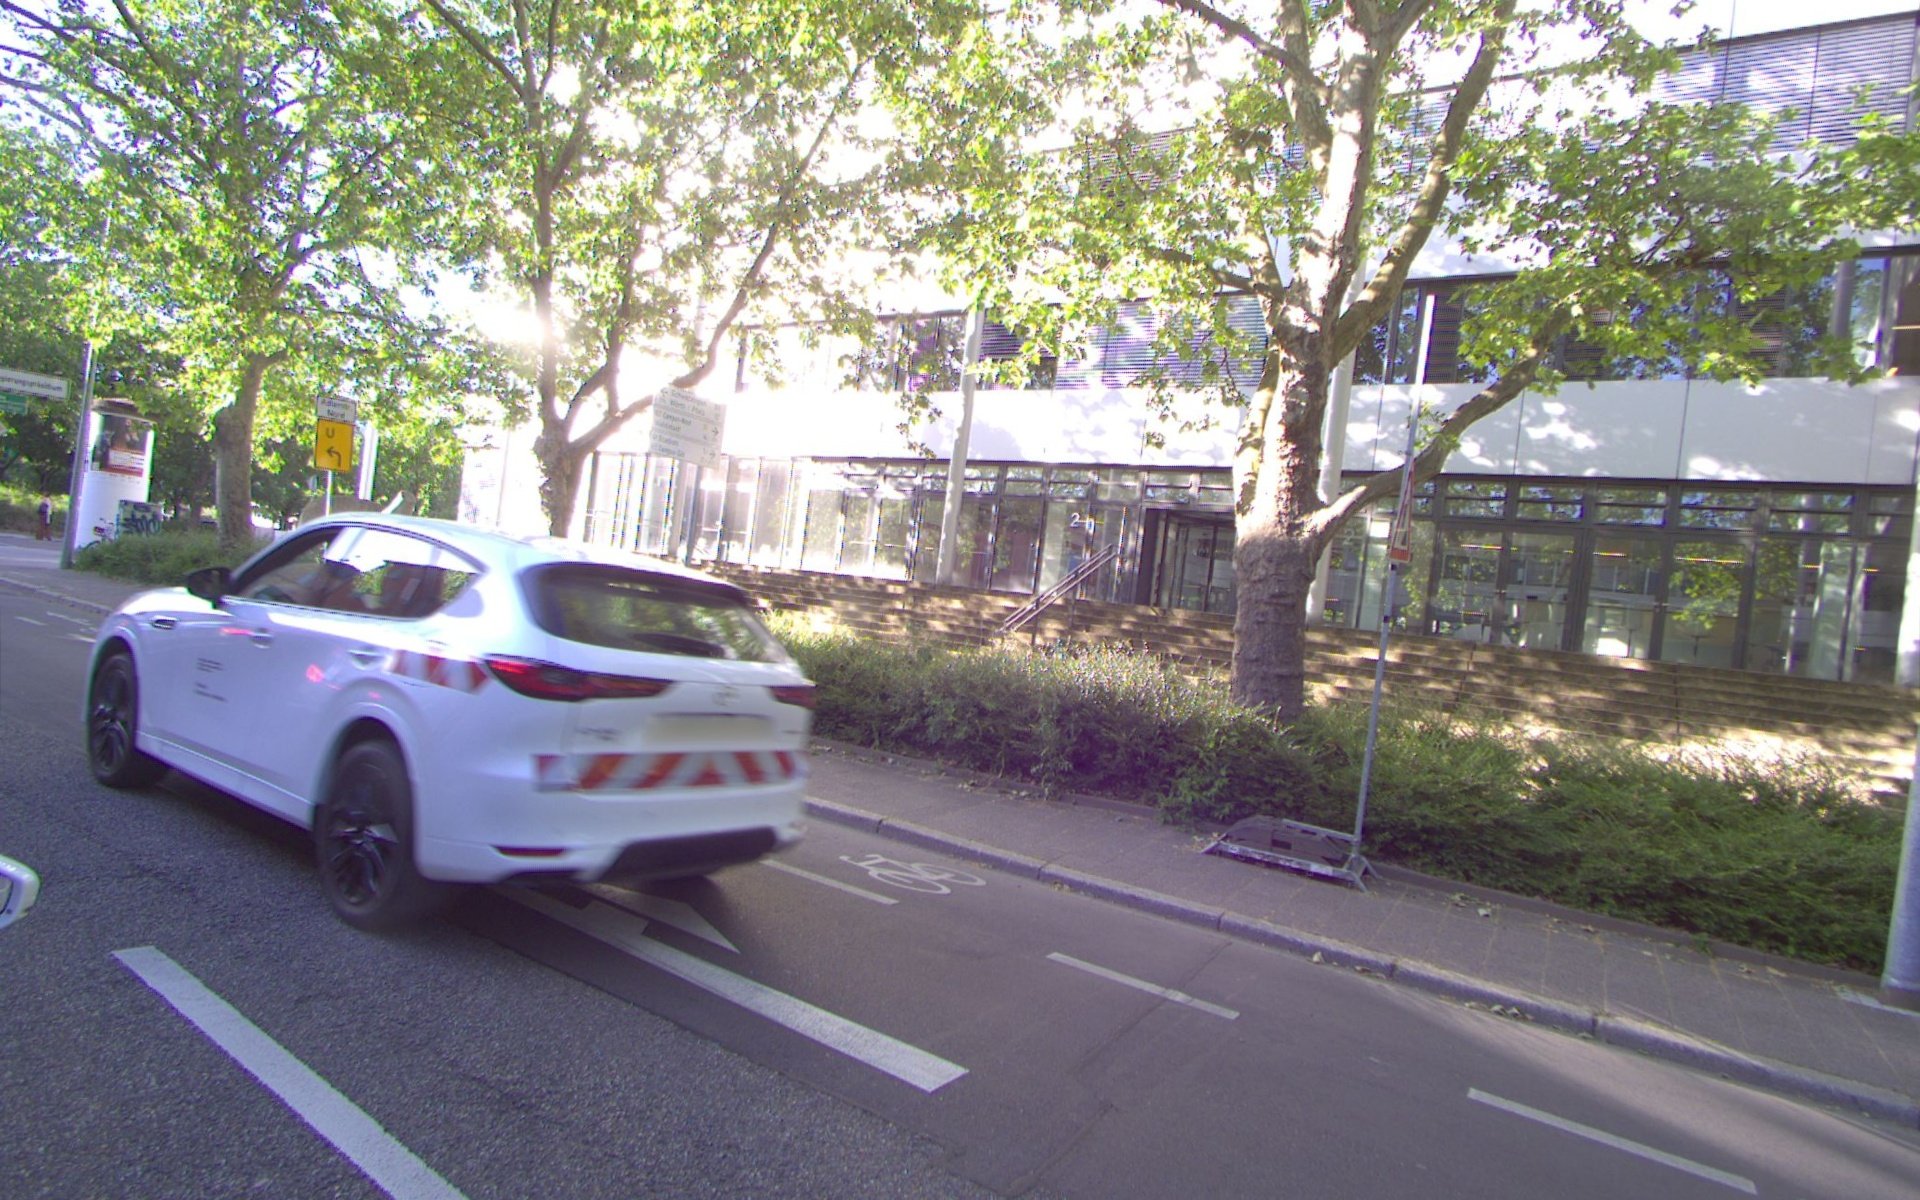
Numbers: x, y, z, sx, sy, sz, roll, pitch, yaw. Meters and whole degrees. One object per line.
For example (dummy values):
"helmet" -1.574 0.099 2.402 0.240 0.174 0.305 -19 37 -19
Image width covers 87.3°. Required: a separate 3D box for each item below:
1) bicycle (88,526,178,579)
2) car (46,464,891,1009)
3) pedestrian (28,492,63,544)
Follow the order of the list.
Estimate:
"bicycle" -19.034 -1.074 23.174 0.295 0.991 1.484 6 -2 37
"car" -2.800 0.400 5.400 4.410 1.727 1.946 7 -2 33
"pedestrian" -33.754 -3.015 37.140 0.672 1.793 0.613 8 -1 -29
